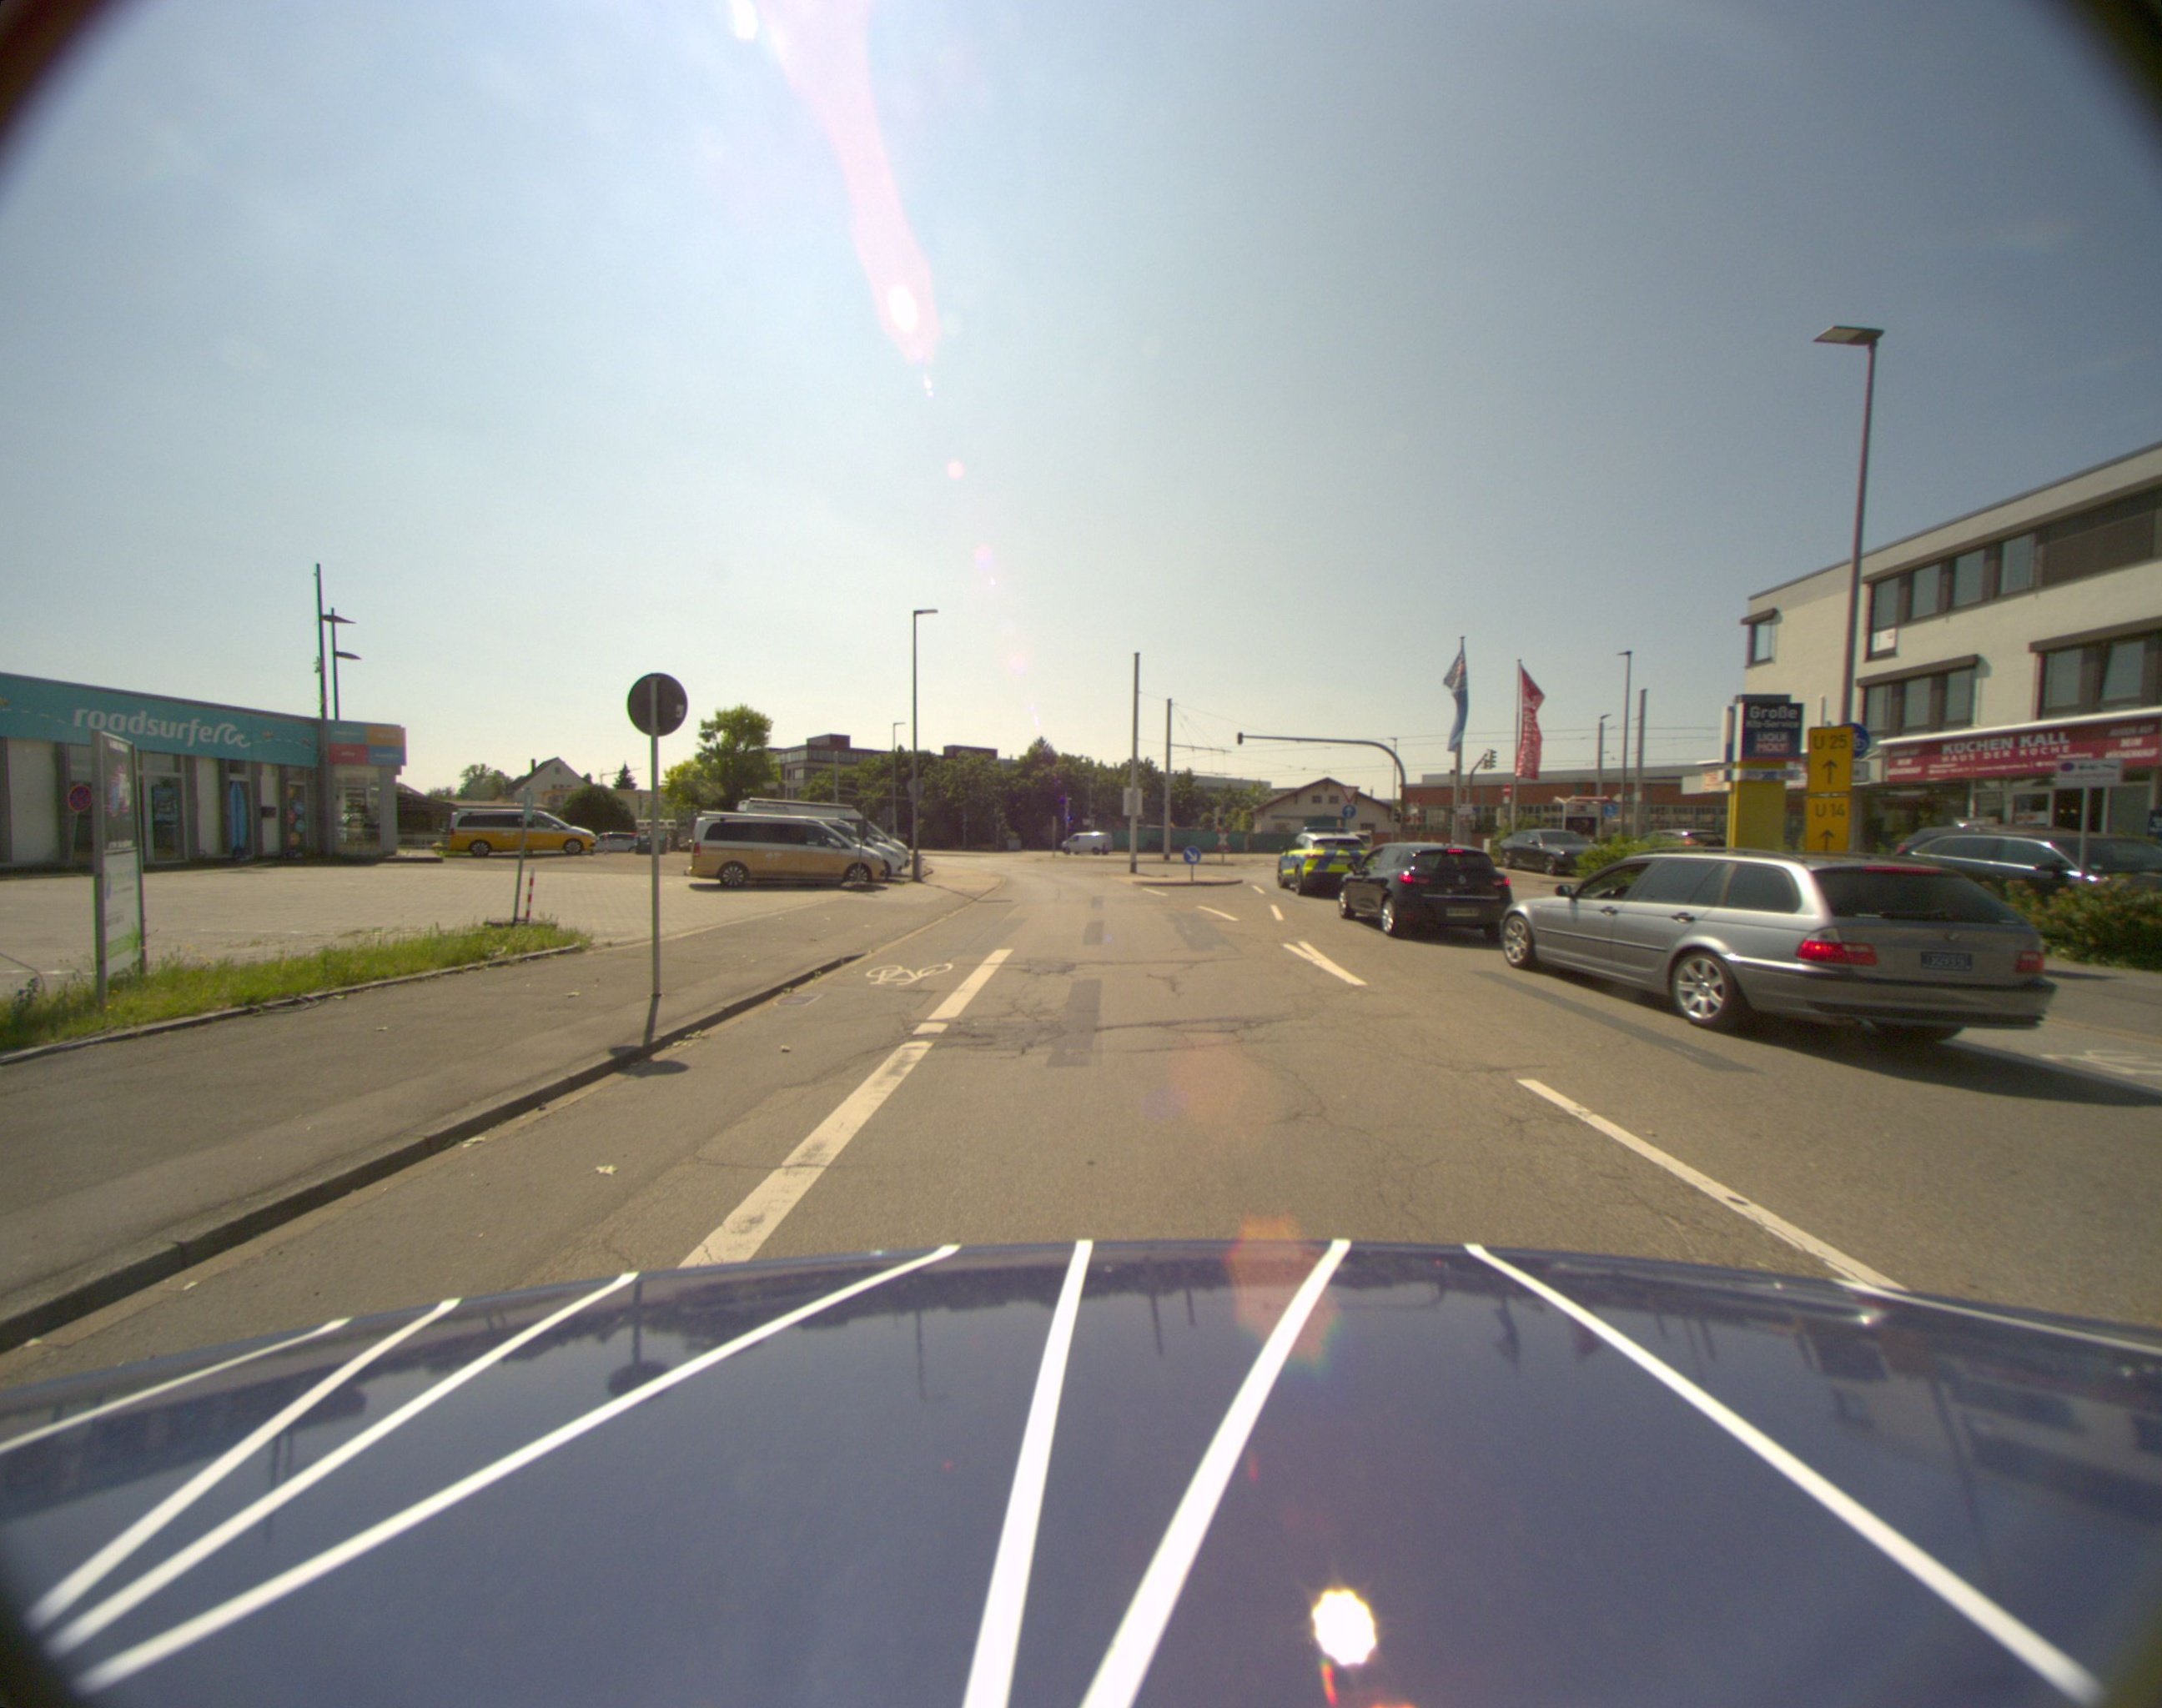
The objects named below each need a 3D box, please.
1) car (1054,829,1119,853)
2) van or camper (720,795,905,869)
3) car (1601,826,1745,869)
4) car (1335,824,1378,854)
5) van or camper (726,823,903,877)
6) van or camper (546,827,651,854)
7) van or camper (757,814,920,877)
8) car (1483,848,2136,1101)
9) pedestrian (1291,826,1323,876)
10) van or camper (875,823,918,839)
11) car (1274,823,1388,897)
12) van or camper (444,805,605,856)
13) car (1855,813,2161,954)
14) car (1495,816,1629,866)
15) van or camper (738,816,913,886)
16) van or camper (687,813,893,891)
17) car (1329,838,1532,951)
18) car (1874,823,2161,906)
[{"bbox_3d":[0.486,-1.221,69.140,5.515,2.121,2.217,2,2,32],"label":"car"},{"bbox_3d":[-10.372,-0.846,29.620,6.375,2.622,2.526,-1,3,-34],"label":"van or camper"},{"bbox_3d":[20.978,-0.291,27.217,1.911,1.380,4.485,1,2,5],"label":"car"},{"bbox_3d":[18.728,-1.077,51.899,1.994,1.936,4.439,1,2,10],"label":"car"},{"bbox_3d":[-11.556,-0.237,33.204,6.860,2.123,2.778,-1,2,-32],"label":"van or camper"},{"bbox_3d":[-30.187,-0.877,47.633,5.430,1.602,2.286,-1,3,-36],"label":"van or camper"},{"bbox_3d":[-8.672,-0.338,27.235,5.148,2.065,2.445,-1,2,-30],"label":"van or camper"},{"bbox_3d":[5.602,0.723,6.836,1.746,1.397,4.323,2,2,2],"label":"car"},{"bbox_3d":[7.839,-0.121,26.369,0.995,1.676,0.800,1,2,13],"label":"pedestrian"},{"bbox_3d":[-21.980,-2.792,90.349,5.279,1.818,2.509,2,3,42],"label":"van or camper"},{"bbox_3d":[6.498,0.065,20.261,1.897,1.749,4.353,1,2,5],"label":"car"},{"bbox_3d":[-24.010,-1.012,33.025,5.430,2.028,2.286,-1,3,-36],"label":"van or camper"},{"bbox_3d":[14.174,0.311,11.014,1.909,1.705,4.000,1,2,4],"label":"car"},{"bbox_3d":[16.622,-0.483,26.589,1.911,1.565,4.818,1,2,5],"label":"car"},{"bbox_3d":[-8.116,-0.127,24.201,4.990,2.034,2.036,0,3,-28],"label":"van or camper"},{"bbox_3d":[-8.090,-0.075,21.211,5.144,1.951,1.981,0,3,-29],"label":"van or camper"},{"bbox_3d":[5.500,0.514,12.594,1.664,1.446,4.241,2,2,5],"label":"car"},{"bbox_3d":[18.938,0.111,15.110,1.911,1.413,4.419,1,2,5],"label":"car"}]
